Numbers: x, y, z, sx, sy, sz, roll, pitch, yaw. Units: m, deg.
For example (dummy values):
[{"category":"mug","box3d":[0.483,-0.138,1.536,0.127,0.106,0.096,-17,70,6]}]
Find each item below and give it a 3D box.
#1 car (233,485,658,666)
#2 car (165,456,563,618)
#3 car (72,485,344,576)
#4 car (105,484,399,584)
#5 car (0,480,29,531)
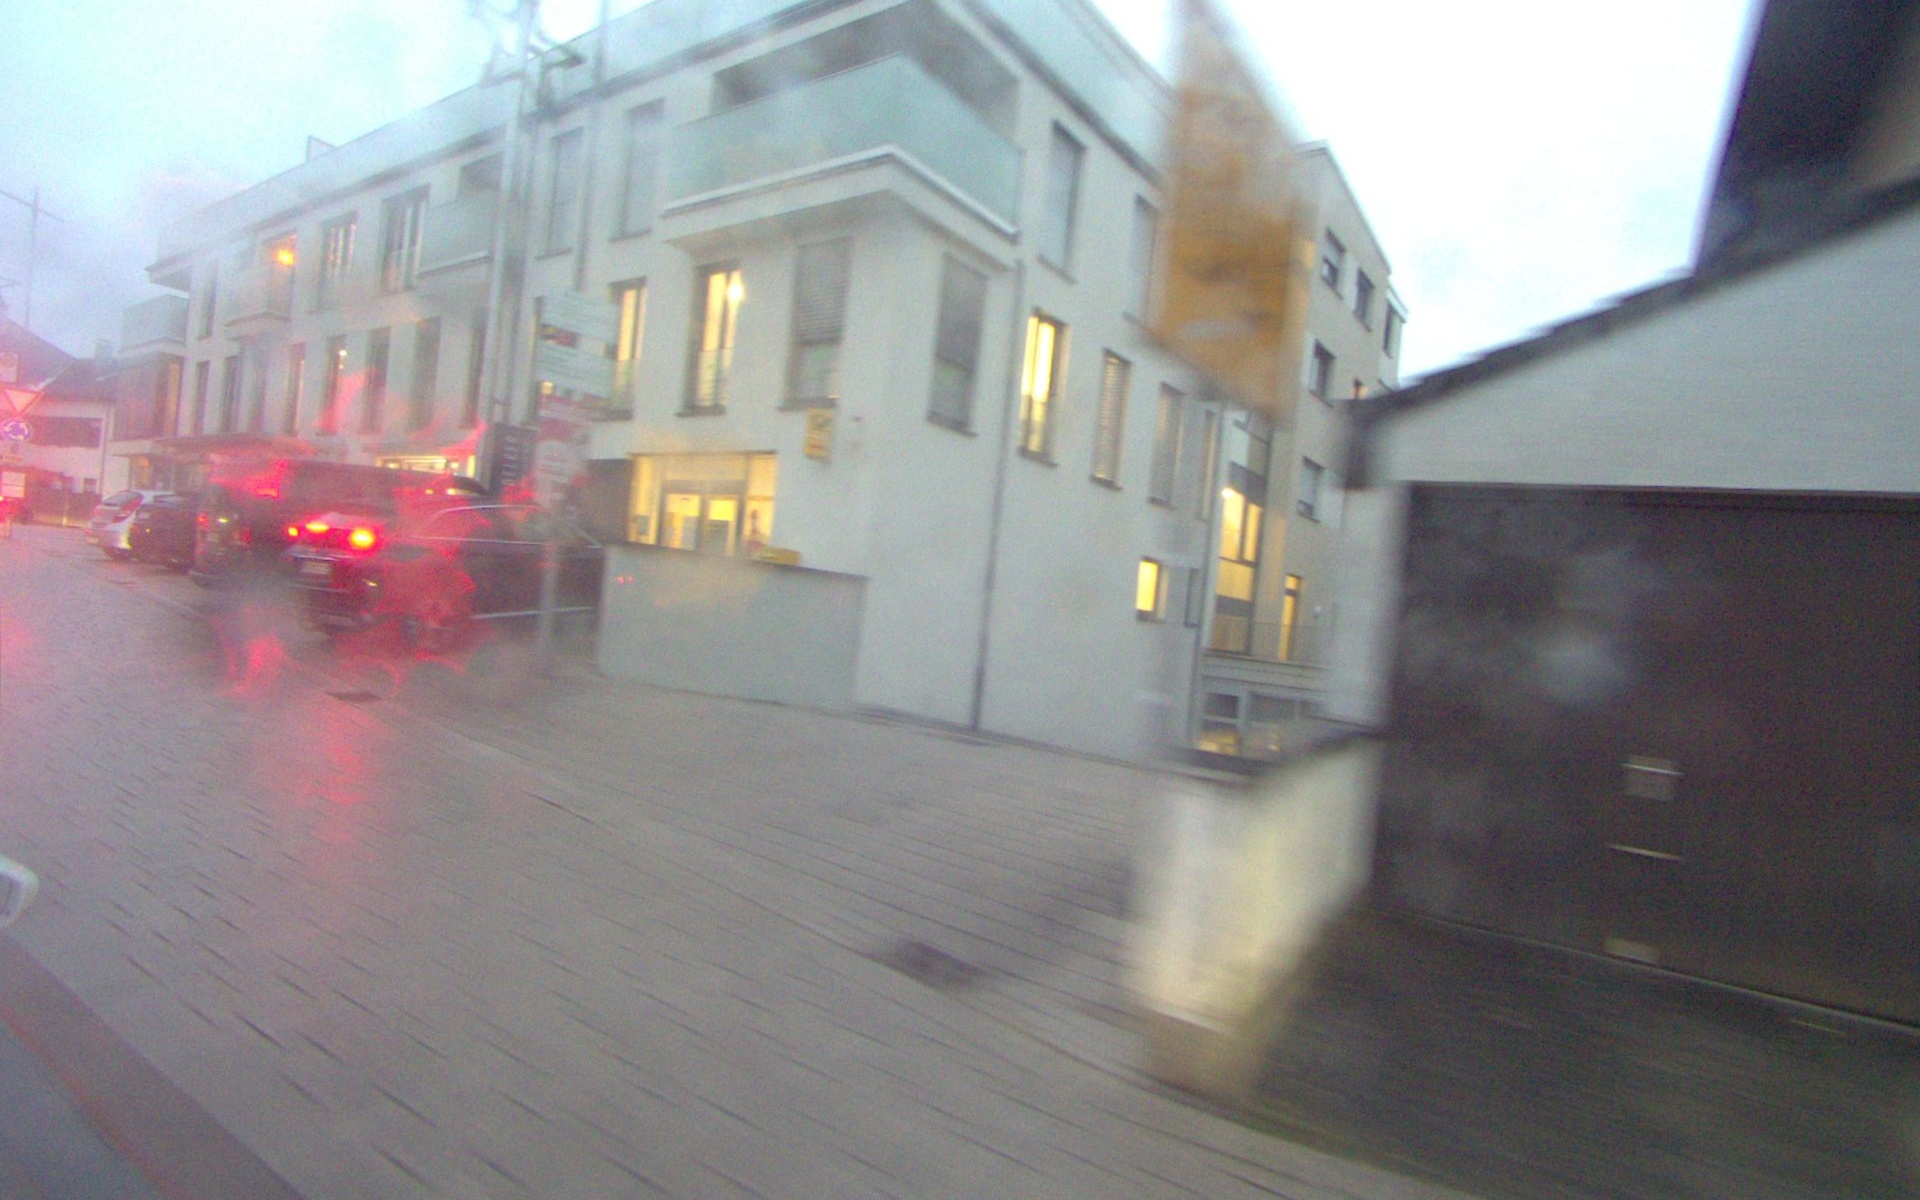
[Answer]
[{"category":"car","box3d":[-5.809,-0.380,11.916,1.773,1.664,4.171,7,6,29]},{"category":"car","box3d":[-8.351,-0.864,14.517,1.920,1.948,4.553,6,4,36]},{"category":"car","box3d":[-15.650,-1.397,21.171,1.763,1.480,4.205,6,2,31]},{"category":"car","box3d":[-13.309,-1.186,19.176,1.763,1.480,4.205,6,2,31]},{"category":"car","box3d":[-40.388,-4.007,41.531,2.142,2.018,4.457,3,3,-34]}]
